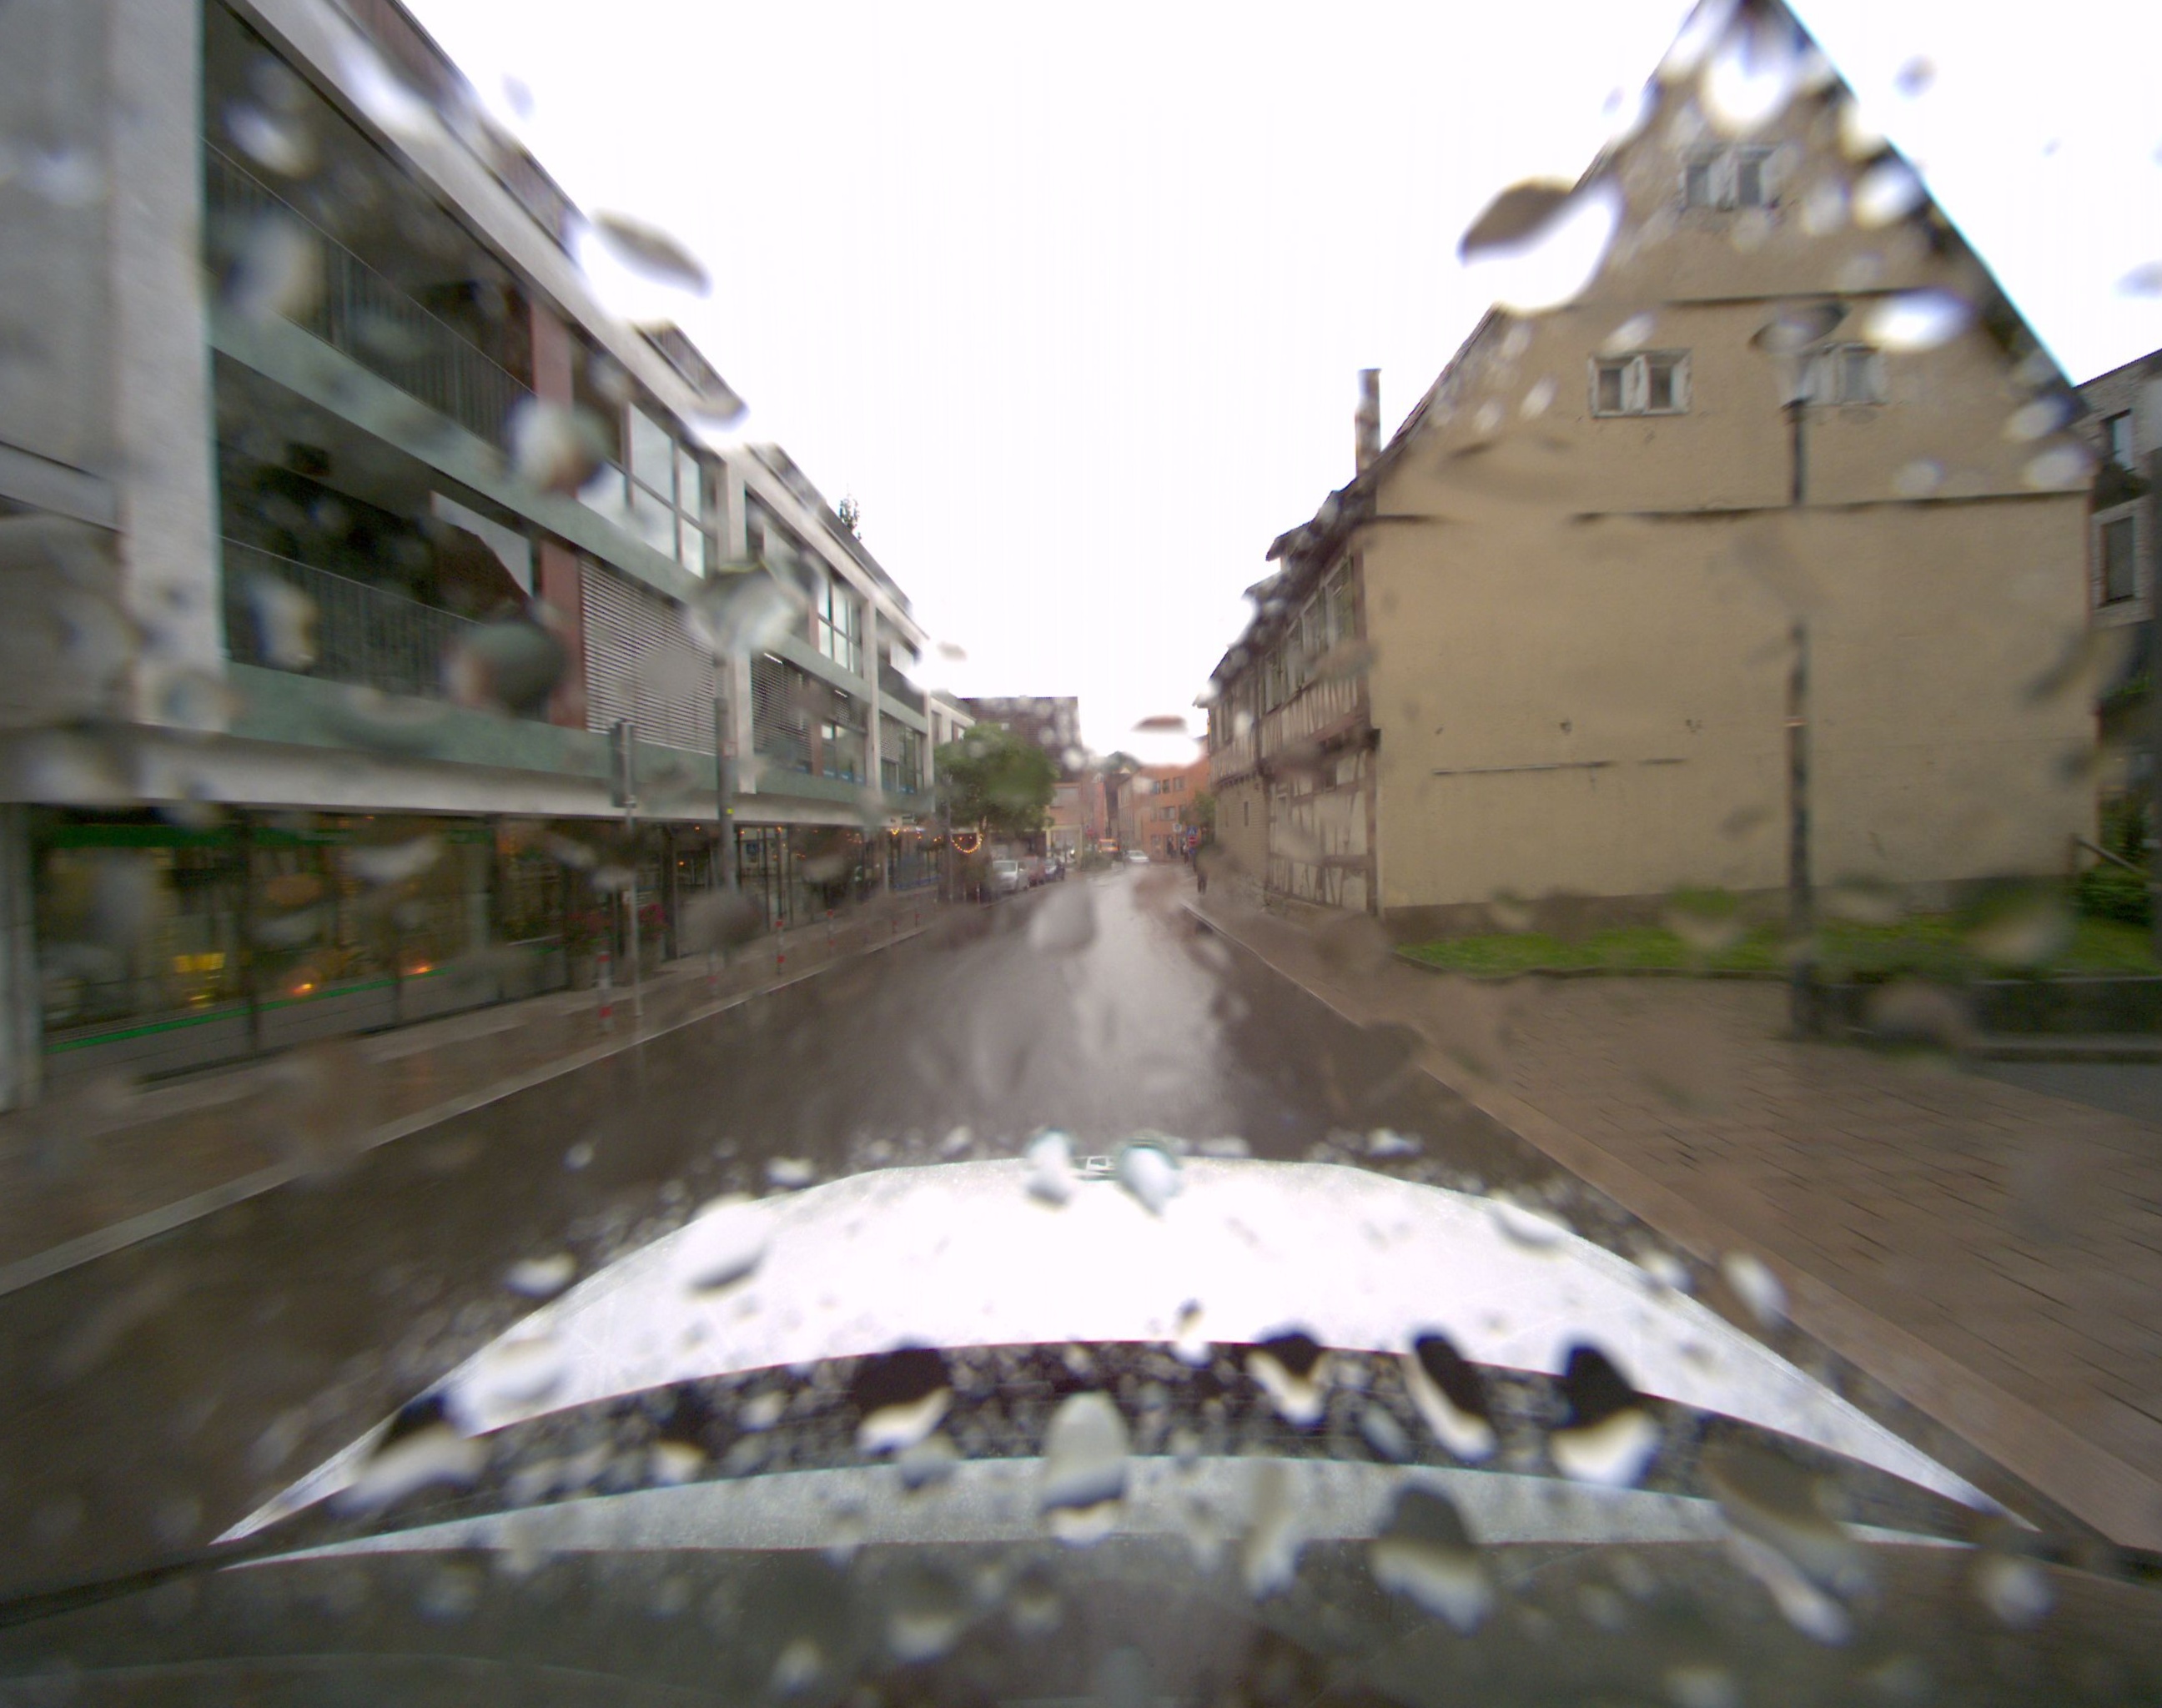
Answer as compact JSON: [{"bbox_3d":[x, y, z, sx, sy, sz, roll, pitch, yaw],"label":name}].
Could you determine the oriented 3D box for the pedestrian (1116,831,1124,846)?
[{"bbox_3d":[5.226,-2.075,108.605,0.865,2.013,0.706,-2,1,-7],"label":"pedestrian"}]

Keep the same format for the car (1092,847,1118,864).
[{"bbox_3d":[2.071,0.107,70.826,1.712,1.458,3.902,-1,1,-6],"label":"car"}]

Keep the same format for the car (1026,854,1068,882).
[{"bbox_3d":[-1.968,0.792,47.801,1.704,1.458,3.920,-1,1,9],"label":"car"}]

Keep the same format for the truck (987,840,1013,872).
[{"bbox_3d":[-6.269,0.139,63.348,1.592,2.062,3.192,-4,5,-1],"label":"truck"}]

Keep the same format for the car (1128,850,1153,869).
[{"bbox_3d":[4.928,0.407,67.479,1.784,1.417,4.030,-4,0,1],"label":"car"}]

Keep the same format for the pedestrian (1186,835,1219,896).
[{"bbox_3d":[3.908,0.367,26.240,0.807,1.885,0.907,-4,0,0],"label":"pedestrian"}]

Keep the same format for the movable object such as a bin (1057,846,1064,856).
[{"bbox_3d":[-2.926,-0.430,114.539,0.833,1.382,0.852,-2,1,-8],"label":"movable object such as a bin"}]

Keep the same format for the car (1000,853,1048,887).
[{"bbox_3d":[-2.944,0.806,42.875,1.777,1.576,4.114,-3,0,6],"label":"car"}]

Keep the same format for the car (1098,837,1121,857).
[{"bbox_3d":[3.310,-0.826,96.480,2.100,2.146,4.860,-4,0,-4],"label":"car"}]

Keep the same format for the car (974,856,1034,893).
[{"bbox_3d":[-3.404,0.886,37.040,1.777,1.498,4.462,-3,0,6],"label":"car"}]

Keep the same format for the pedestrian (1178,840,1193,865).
[{"bbox_3d":[8.400,-0.113,65.307,0.853,1.914,0.763,-2,0,33],"label":"pedestrian"}]
